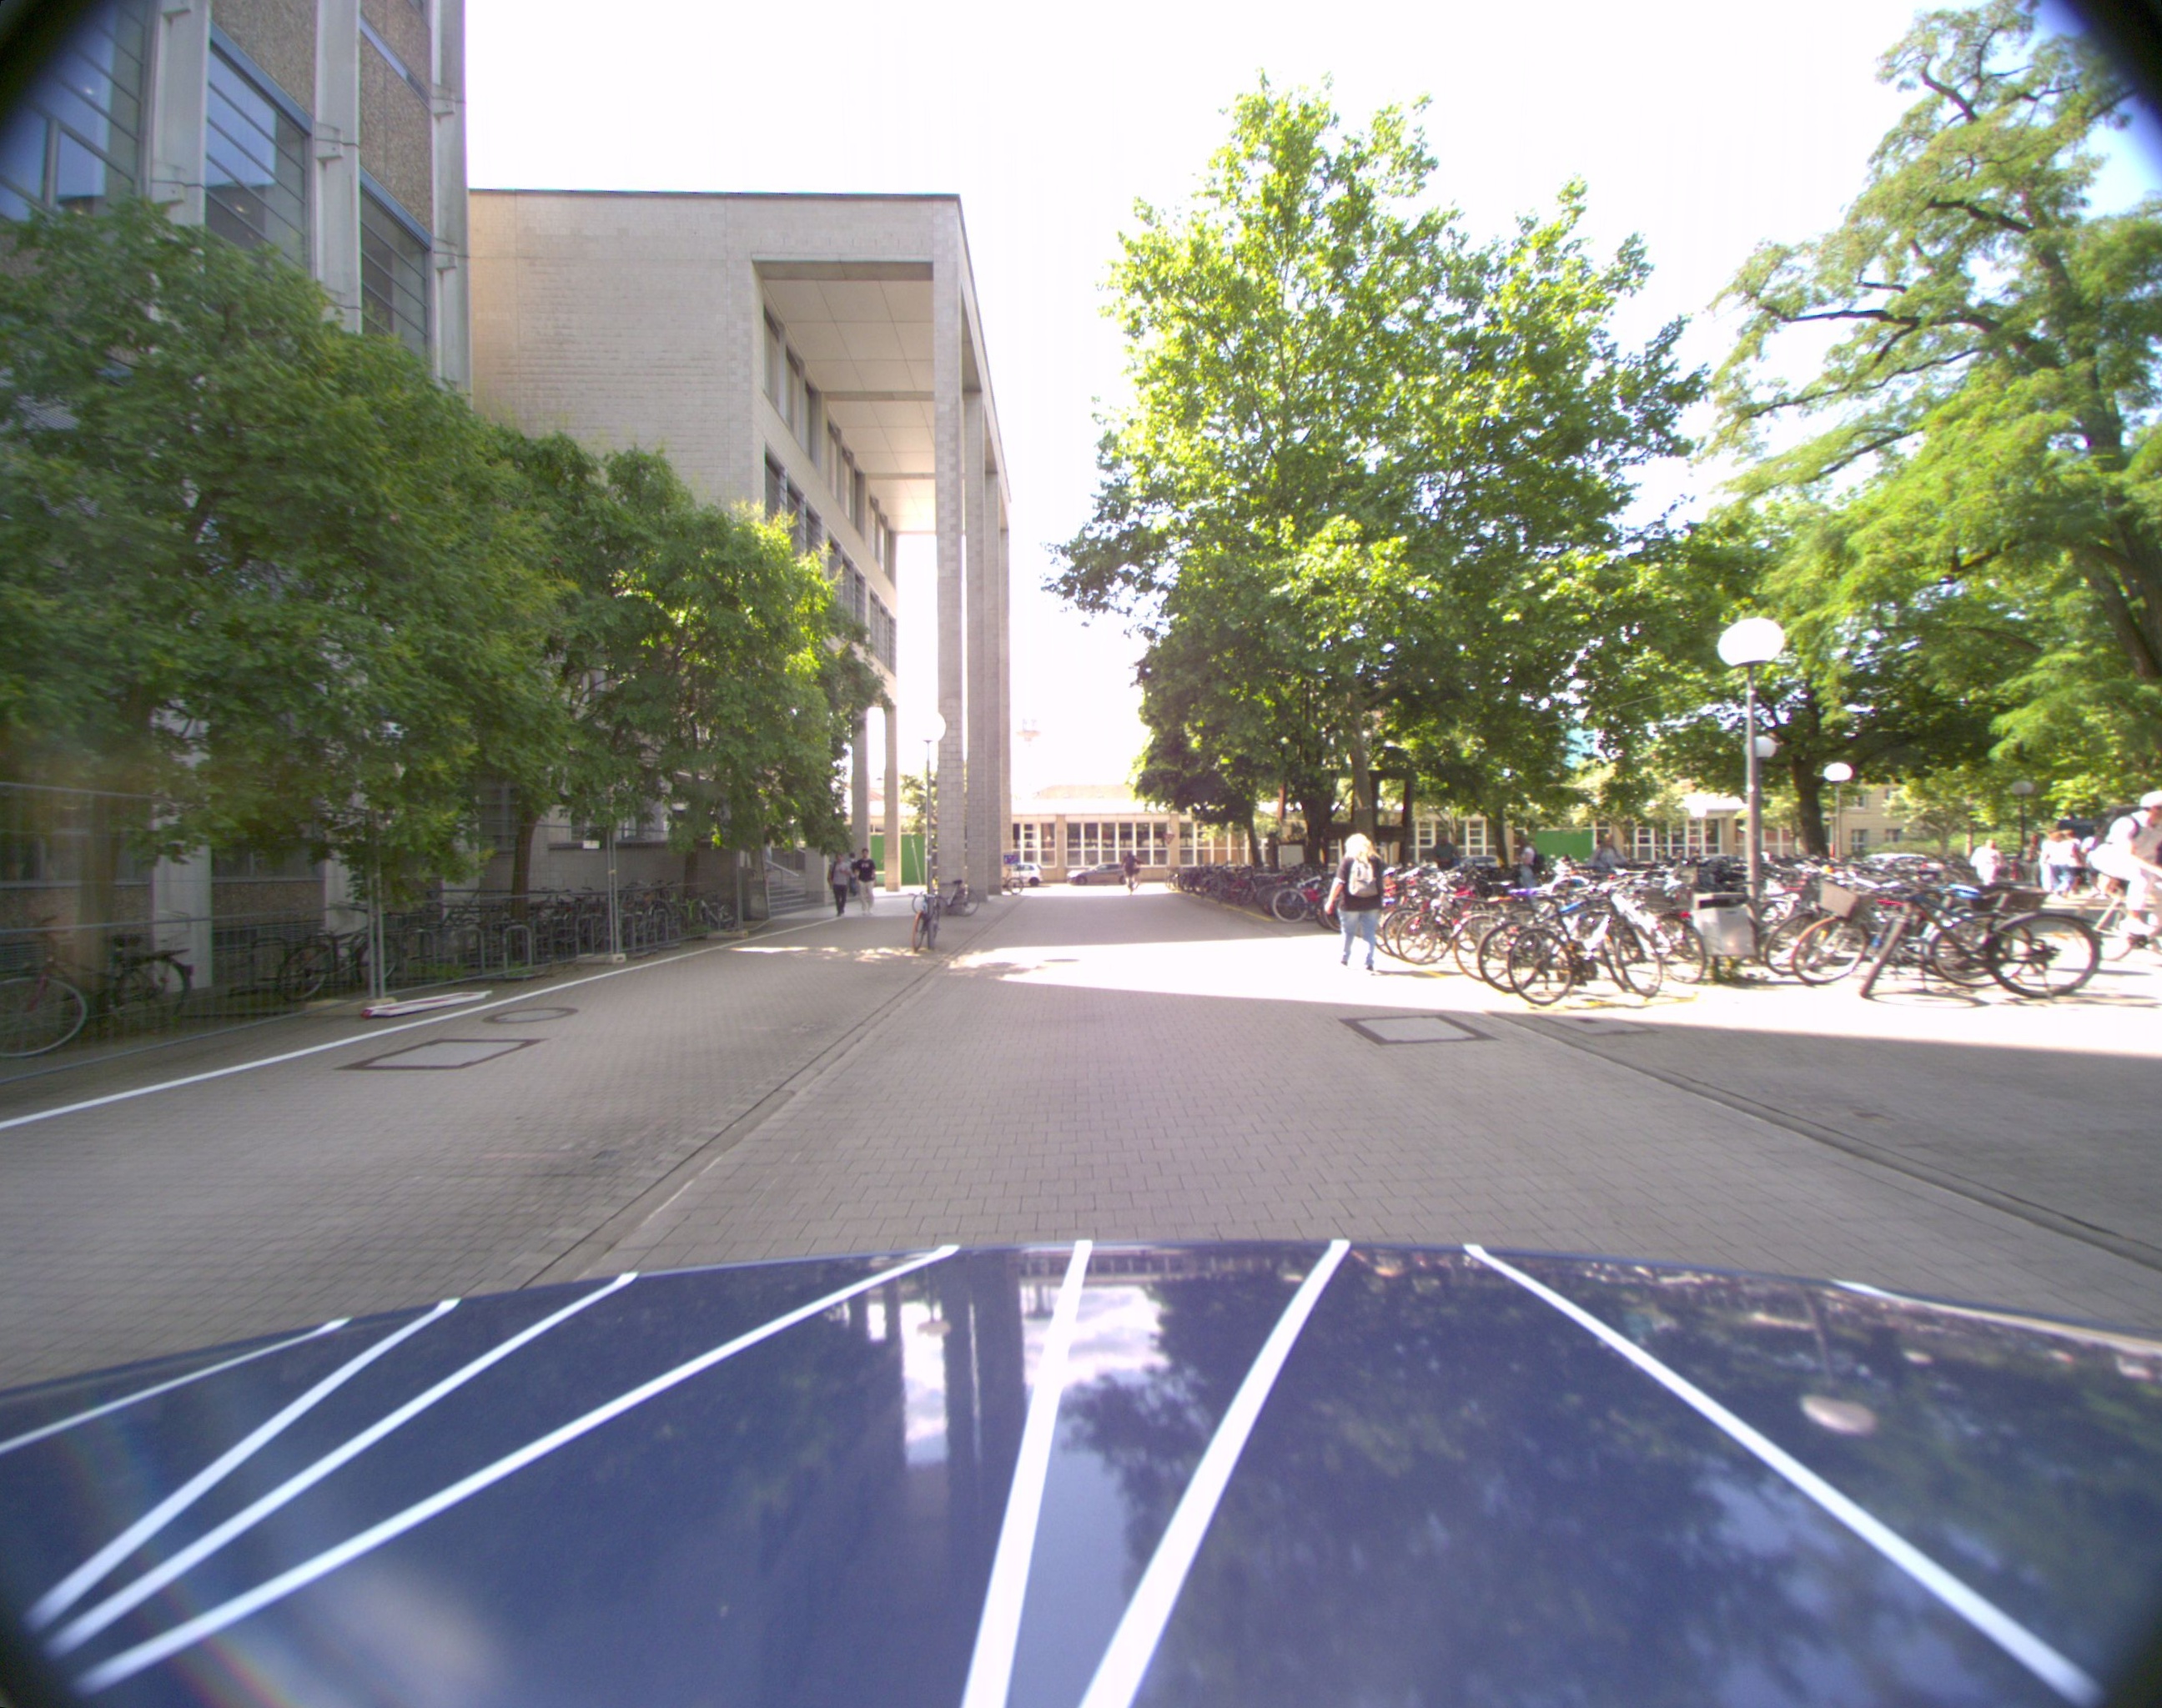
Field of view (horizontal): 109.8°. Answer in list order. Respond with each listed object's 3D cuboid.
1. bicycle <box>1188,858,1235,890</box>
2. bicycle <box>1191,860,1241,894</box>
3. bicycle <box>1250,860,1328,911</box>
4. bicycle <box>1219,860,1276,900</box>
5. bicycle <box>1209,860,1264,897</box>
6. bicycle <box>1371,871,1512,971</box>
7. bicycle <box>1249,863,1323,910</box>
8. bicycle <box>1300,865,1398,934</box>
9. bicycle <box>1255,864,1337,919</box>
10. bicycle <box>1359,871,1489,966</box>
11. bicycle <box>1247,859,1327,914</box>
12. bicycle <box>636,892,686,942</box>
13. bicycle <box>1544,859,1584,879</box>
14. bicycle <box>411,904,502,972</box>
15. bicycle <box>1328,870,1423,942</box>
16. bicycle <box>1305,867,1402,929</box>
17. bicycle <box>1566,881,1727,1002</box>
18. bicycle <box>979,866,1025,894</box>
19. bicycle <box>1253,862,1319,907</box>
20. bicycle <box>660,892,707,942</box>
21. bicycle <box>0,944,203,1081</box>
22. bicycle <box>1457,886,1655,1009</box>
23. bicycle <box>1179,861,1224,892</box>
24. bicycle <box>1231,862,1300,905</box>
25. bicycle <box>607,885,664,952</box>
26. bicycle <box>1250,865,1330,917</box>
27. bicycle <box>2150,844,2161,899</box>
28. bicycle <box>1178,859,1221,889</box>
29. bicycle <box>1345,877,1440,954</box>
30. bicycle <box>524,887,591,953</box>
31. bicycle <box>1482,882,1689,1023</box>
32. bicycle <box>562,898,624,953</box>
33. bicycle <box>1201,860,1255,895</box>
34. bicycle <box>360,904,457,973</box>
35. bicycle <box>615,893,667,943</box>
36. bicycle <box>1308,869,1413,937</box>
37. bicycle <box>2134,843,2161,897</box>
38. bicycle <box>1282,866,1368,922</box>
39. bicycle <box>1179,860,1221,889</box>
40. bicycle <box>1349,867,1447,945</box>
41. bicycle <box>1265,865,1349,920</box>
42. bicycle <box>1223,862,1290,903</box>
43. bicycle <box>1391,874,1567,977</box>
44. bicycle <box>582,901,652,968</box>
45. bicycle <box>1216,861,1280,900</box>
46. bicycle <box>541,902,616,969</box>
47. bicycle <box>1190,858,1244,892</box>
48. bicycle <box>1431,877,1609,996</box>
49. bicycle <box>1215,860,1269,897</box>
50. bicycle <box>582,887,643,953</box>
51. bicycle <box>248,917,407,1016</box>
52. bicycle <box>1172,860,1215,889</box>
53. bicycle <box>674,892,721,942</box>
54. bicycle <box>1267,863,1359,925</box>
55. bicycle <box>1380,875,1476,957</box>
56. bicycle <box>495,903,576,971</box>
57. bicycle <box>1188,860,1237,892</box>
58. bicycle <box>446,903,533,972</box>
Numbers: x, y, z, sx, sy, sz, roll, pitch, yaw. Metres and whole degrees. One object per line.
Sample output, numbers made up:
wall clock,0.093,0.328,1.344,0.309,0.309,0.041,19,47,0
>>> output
bicycle,4.858,0.730,28.307,1.628,1.144,0.497,-2,1,0
bicycle,4.692,0.788,26.407,1.629,1.101,0.497,-2,1,-5
bicycle,5.045,0.757,18.456,1.739,1.172,0.497,-2,1,-1
bicycle,5.006,0.773,22.798,1.627,1.137,0.497,-1,1,13
bicycle,4.794,0.760,23.407,1.627,1.101,0.497,-1,1,13
bicycle,4.631,0.835,9.763,1.700,1.161,0.473,-2,1,-13
bicycle,5.164,0.797,19.148,1.741,1.101,0.496,-2,1,-13
bicycle,4.962,0.820,14.078,1.700,1.181,0.473,-2,1,-12
bicycle,4.776,0.814,16.890,1.700,1.139,0.473,-2,1,-12
bicycle,4.656,0.848,10.306,1.701,1.161,0.473,-2,1,-17
bicycle,4.852,0.753,17.893,1.740,1.228,0.496,-2,1,-8
bicycle,-8.586,1.273,15.585,0.291,0.900,1.447,-1,0,-4
bicycle,27.086,0.832,42.648,1.829,1.102,0.605,0,2,1
bicycle,-9.622,1.266,11.759,0.291,0.900,1.447,-1,0,-4
bicycle,4.979,0.846,12.819,1.702,1.101,0.473,-2,1,-27
bicycle,5.248,0.829,14.633,1.700,1.101,0.565,-2,1,-12
bicycle,5.960,0.870,8.127,0.508,1.077,1.700,-1,1,3
bicycle,-3.336,1.093,32.036,1.886,1.157,0.605,1,-1,-5
bicycle,5.411,0.784,20.003,1.743,1.101,0.496,-2,1,-24
bicycle,-8.124,1.263,15.573,0.291,0.900,1.447,-1,0,-4
bicycle,-8.773,1.343,6.743,0.291,0.900,1.618,-1,0,-9
bicycle,4.634,0.891,7.440,1.699,1.085,0.474,-2,1,-6
bicycle,4.602,0.860,29.090,1.628,1.101,0.691,-1,1,4
bicycle,5.003,0.791,20.652,1.740,1.120,0.497,-2,1,-5
bicycle,-8.225,1.156,14.076,0.291,1.122,1.447,-1,0,-4
bicycle,4.790,0.829,17.415,1.700,1.101,0.496,-2,1,-11
bicycle,22.622,0.338,14.951,1.773,1.104,0.518,-1,1,41
bicycle,4.636,0.789,29.810,1.628,1.101,0.497,-1,1,4
bicycle,4.755,0.902,11.554,1.702,1.013,0.473,-2,1,-35
bicycle,-9.613,1.191,14.002,0.291,1.092,1.447,-1,0,-4
bicycle,4.613,0.872,6.971,1.699,1.152,0.474,-2,1,-9
bicycle,-8.966,1.298,14.011,0.291,0.882,1.447,-1,0,-4
bicycle,4.905,0.777,25.448,1.724,1.101,0.719,-1,1,10
bicycle,-10.366,1.277,11.768,0.291,0.900,1.447,-1,0,-4
bicycle,-8.995,1.296,15.573,0.291,0.900,1.447,-1,0,-4
bicycle,4.975,0.857,13.551,1.700,1.101,0.582,-2,1,-12
bicycle,23.122,0.324,15.539,1.773,1.104,0.518,-1,1,41
bicycle,5.154,0.825,16.062,1.700,1.101,0.473,-2,1,-11
bicycle,4.748,0.822,30.359,1.628,1.101,0.506,-1,1,4
bicycle,5.195,0.816,12.408,1.702,1.151,0.473,-2,1,-27
bicycle,4.880,0.820,16.433,1.700,1.101,0.473,-2,1,-12
bicycle,4.910,0.788,21.271,1.739,1.101,0.497,-2,1,0
bicycle,4.693,0.842,9.053,1.778,1.161,0.474,-1,1,13
bicycle,-7.302,1.245,12.005,0.291,0.900,1.447,-1,0,-4
bicycle,4.870,0.779,22.143,1.737,1.101,0.575,-1,1,19
bicycle,-7.838,1.248,11.907,0.291,0.900,1.447,-1,0,-4
bicycle,4.814,0.735,26.903,1.785,1.155,0.497,-2,1,-5
bicycle,4.723,0.865,8.202,1.699,1.161,0.474,-2,1,-6
bicycle,5.066,0.768,23.945,1.627,1.101,0.563,-1,1,13
bicycle,-8.617,1.192,14.021,0.291,1.088,1.447,-1,0,-4
bicycle,-8.710,1.255,8.879,0.291,0.900,1.803,-1,0,-9
bicycle,4.570,0.839,30.928,1.628,1.101,0.629,-1,1,4
bicycle,-7.772,1.261,15.440,0.291,0.900,1.447,-1,0,-4
bicycle,4.709,0.798,15.459,1.699,1.191,0.536,-2,1,-9
bicycle,5.131,0.875,11.204,1.702,1.055,0.473,-2,1,-35
bicycle,-8.439,1.253,11.810,0.291,0.900,1.447,-1,0,-4
bicycle,4.763,0.779,27.538,1.629,1.101,0.644,-2,1,-5
bicycle,-9.114,1.262,11.761,0.291,0.900,1.447,-1,0,-4
